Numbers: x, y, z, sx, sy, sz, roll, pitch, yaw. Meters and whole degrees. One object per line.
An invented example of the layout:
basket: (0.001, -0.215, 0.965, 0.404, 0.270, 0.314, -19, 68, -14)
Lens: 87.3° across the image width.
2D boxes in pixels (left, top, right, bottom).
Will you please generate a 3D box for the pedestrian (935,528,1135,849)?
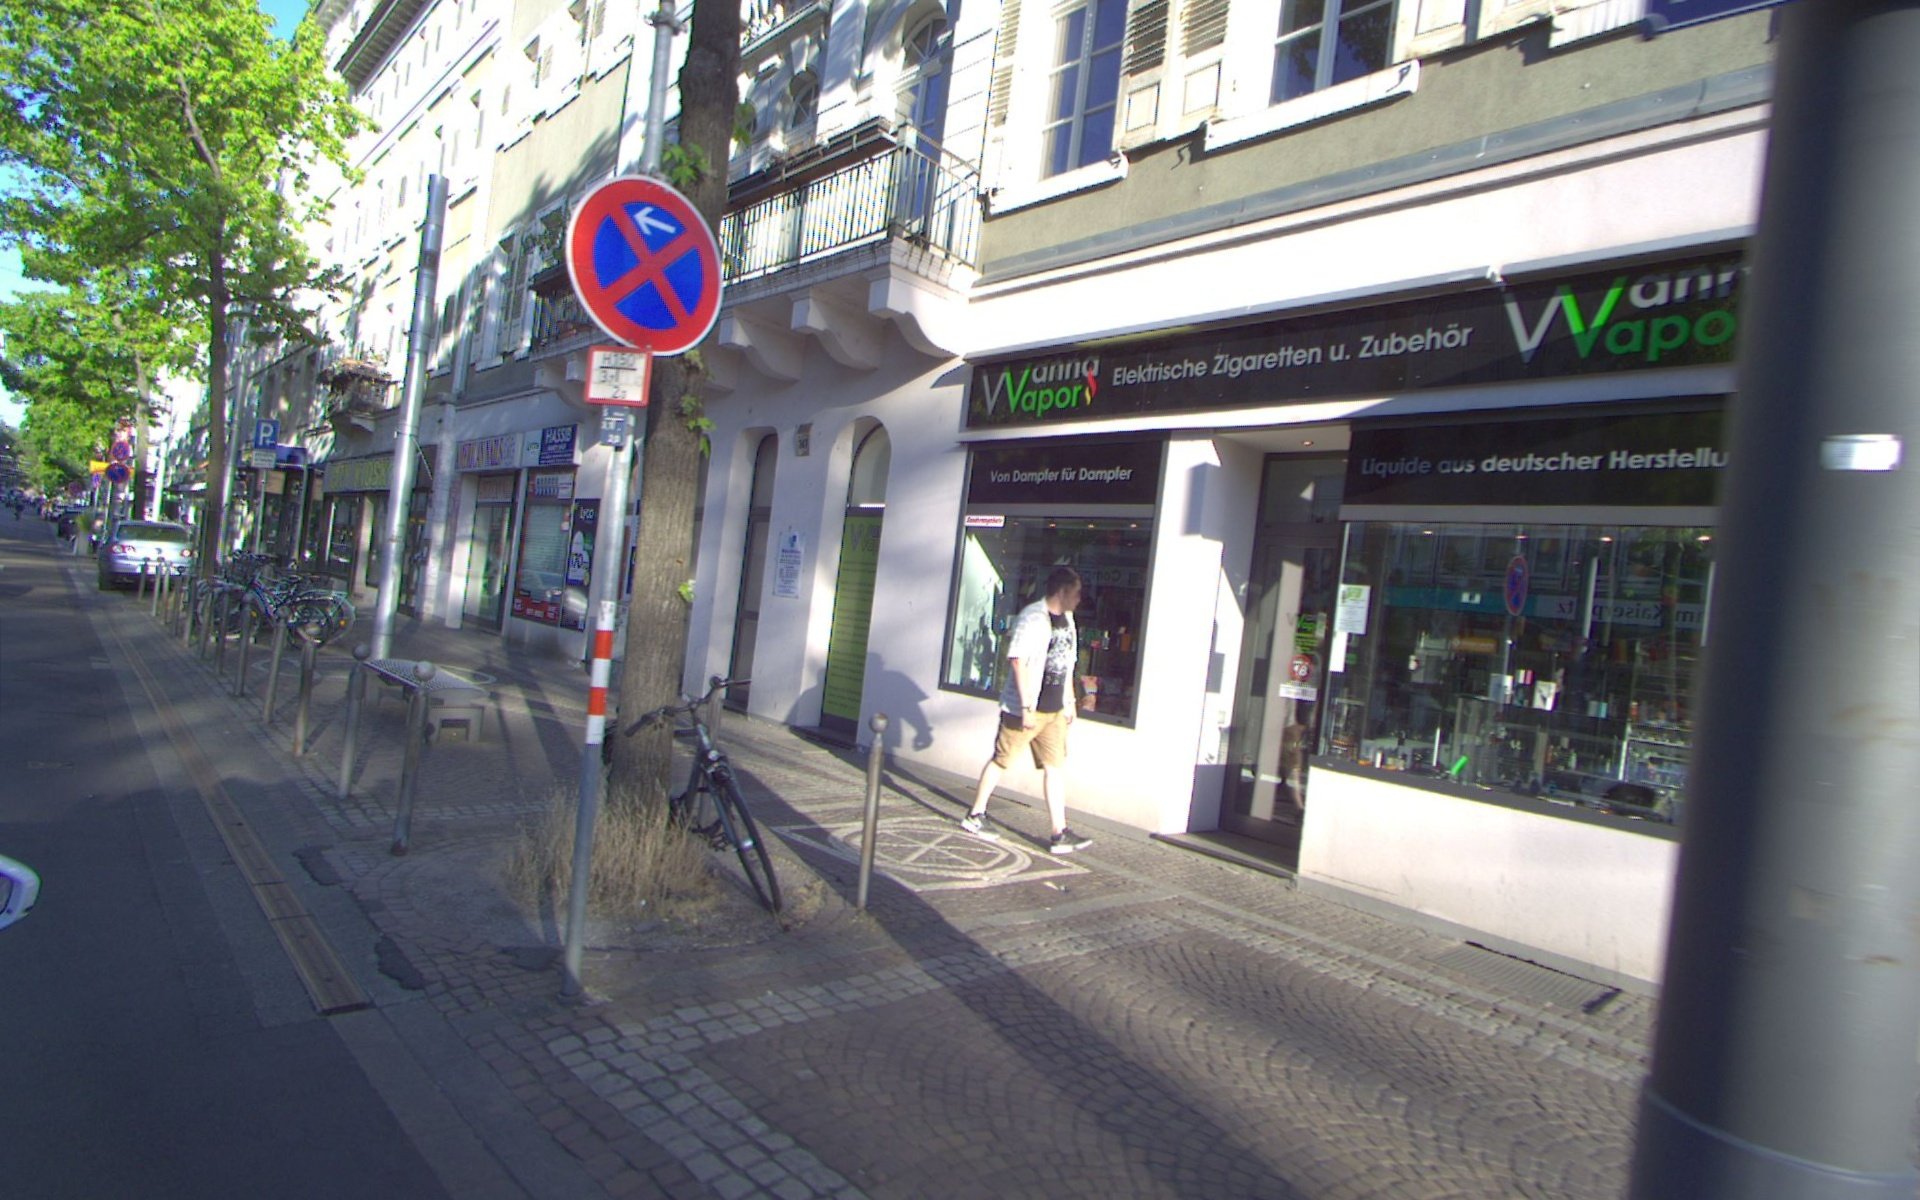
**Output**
pedestrian: (0.503, 0.597, 6.933, 0.834, 2.037, 0.840, 7, -1, -29)

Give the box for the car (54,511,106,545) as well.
car: (-45.393, -3.737, 51.938, 1.863, 1.471, 4.059, 5, 0, -41)

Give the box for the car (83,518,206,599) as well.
car: (-17.598, -0.917, 21.624, 1.768, 1.458, 4.370, 4, 0, -42)

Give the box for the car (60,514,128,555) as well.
car: (-39.980, -3.038, 46.413, 3.945, 1.503, 1.813, 6, -2, 42)

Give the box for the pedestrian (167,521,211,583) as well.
pedestrian: (-21.950, -1.371, 28.640, 0.800, 1.663, 0.746, 6, 0, -43)

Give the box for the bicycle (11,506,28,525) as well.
bicycle: (-68.035, -6.095, 72.809, 0.738, 1.202, 2.135, 7, -1, -42)

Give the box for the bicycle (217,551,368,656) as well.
bicycle: (-8.780, 0.053, 13.251, 1.649, 1.168, 0.462, 7, -1, 7)

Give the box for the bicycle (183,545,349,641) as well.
bicycle: (-10.211, -0.087, 14.851, 1.860, 1.168, 0.556, 9, -2, -42)

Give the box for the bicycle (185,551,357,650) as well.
bicycle: (-9.765, 0.022, 14.311, 1.860, 1.168, 0.556, 9, -2, -42)

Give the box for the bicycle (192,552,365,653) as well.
bicycle: (-9.404, 0.063, 13.950, 1.860, 1.168, 0.344, 9, -2, -42)

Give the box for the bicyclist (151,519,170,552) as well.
bicyclist: (-43.637, -3.526, 54.904, 0.637, 1.705, 0.592, 6, 0, -45)

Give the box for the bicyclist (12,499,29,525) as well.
bicyclist: (-68.083, -6.384, 72.917, 0.722, 1.723, 0.801, 7, -1, -42)

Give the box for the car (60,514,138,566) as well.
car: (-33.953, -2.379, 39.642, 3.609, 1.469, 1.804, 5, -11, 45)

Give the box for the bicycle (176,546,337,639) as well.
bicycle: (-10.675, -0.093, 15.302, 1.860, 1.168, 0.556, 9, -2, -42)

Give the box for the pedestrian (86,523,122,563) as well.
pedestrian: (-30.118, -2.001, 35.395, 0.813, 1.280, 0.580, 7, -1, -38)

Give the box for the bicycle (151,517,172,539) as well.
bicycle: (-43.481, -3.906, 54.782, 0.646, 1.087, 1.838, 7, 0, -44)

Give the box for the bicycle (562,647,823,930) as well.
bicycle: (-1.417, 0.874, 5.119, 1.677, 1.089, 0.353, 5, -2, 44)

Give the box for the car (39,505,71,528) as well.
car: (-82.109, -7.563, 91.247, 1.987, 1.748, 4.190, 8, -1, -43)

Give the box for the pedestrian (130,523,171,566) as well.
pedestrian: (-29.127, -1.985, 36.215, 0.733, 1.403, 0.710, 7, 0, 9)

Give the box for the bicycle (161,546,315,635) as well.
bicycle: (-11.559, -0.138, 16.147, 1.860, 1.168, 0.556, 9, -2, -42)

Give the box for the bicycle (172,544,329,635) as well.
bicycle: (-11.087, -0.150, 15.770, 1.860, 1.168, 0.556, 9, -2, -42)
